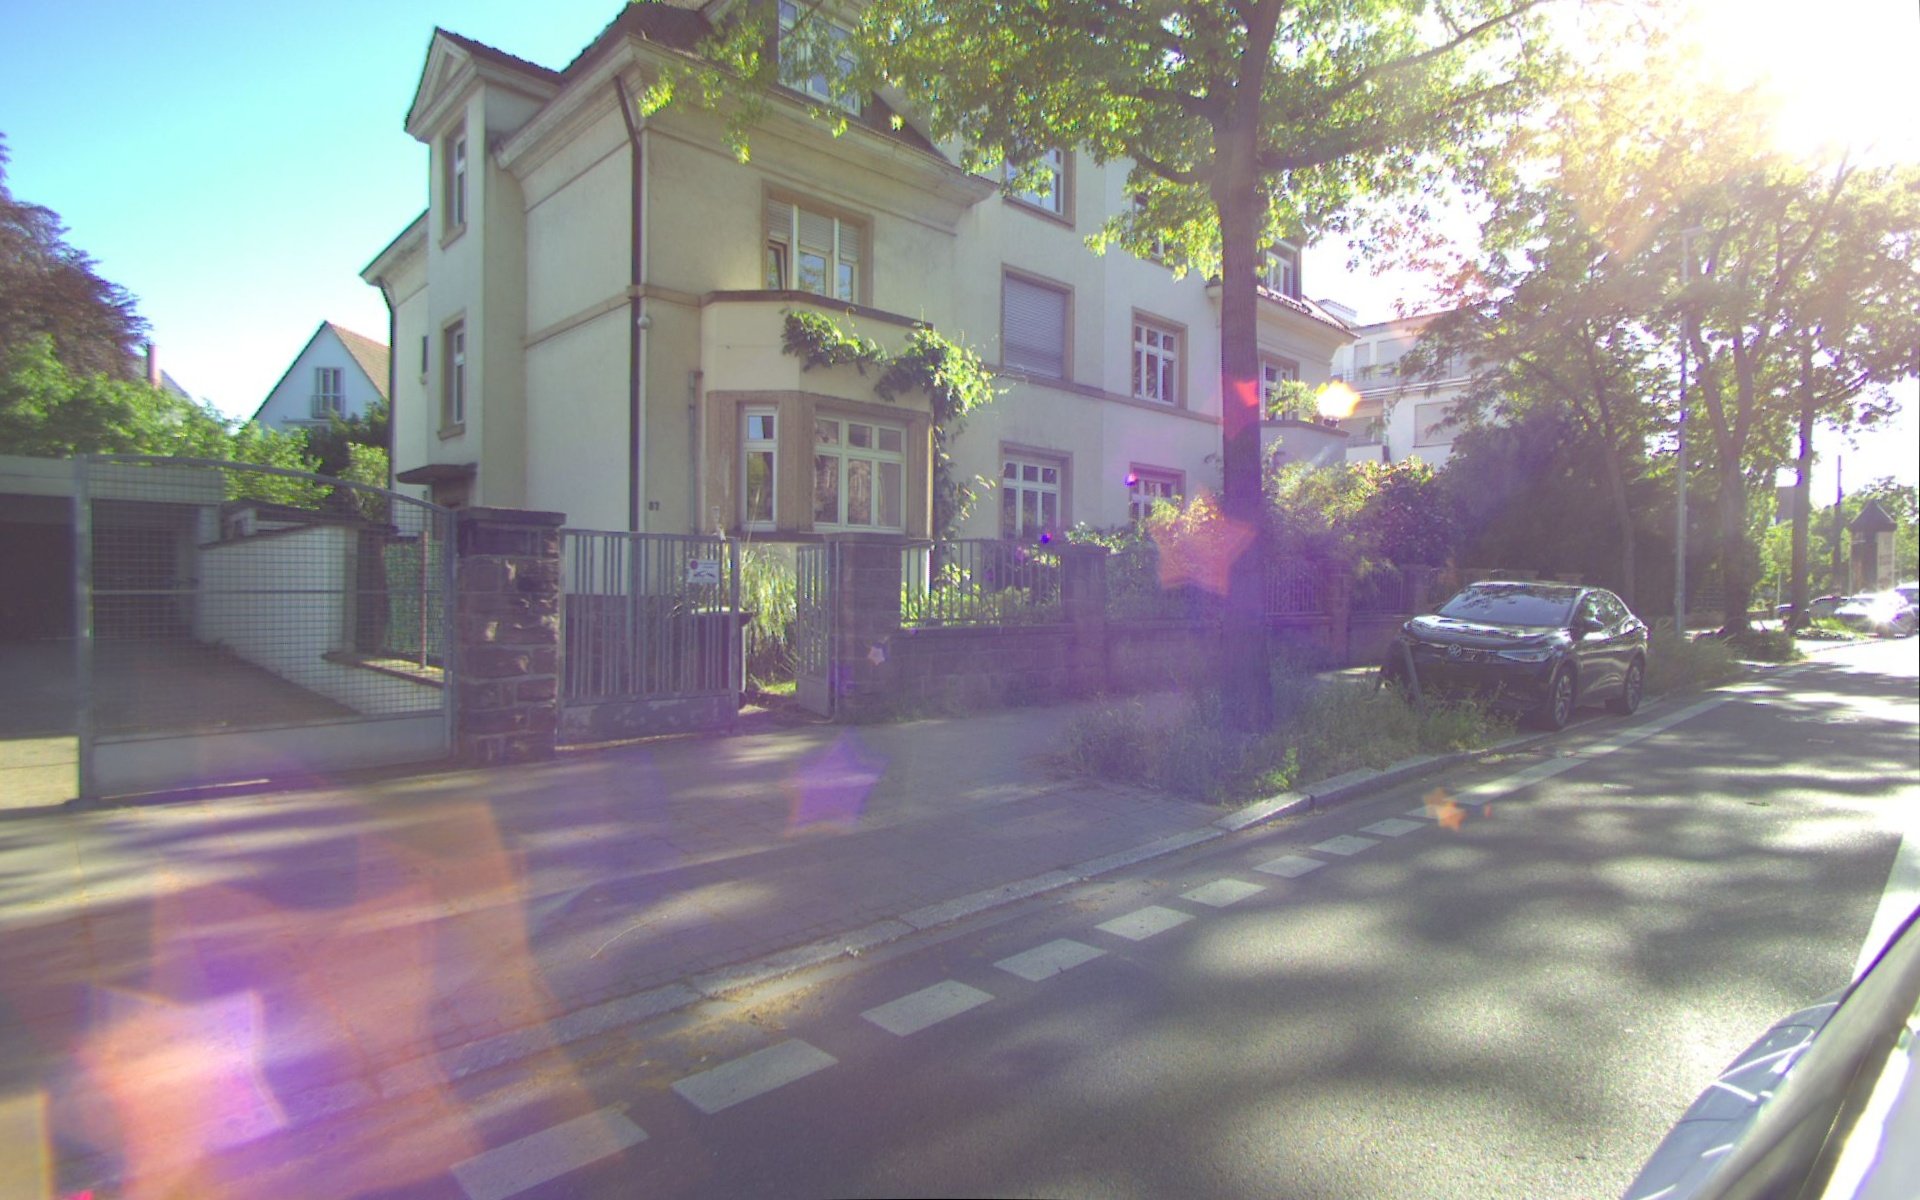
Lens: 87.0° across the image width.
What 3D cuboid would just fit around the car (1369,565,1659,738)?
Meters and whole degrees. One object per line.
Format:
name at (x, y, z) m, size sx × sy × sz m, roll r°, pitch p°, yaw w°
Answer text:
car at (6.949, 0.492, 12.508) m, size 4.101 × 1.765 × 1.995 m, roll -1°, pitch 1°, yaw -43°

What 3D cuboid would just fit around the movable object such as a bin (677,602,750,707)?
movable object such as a bin at (-2.705, 0.569, 11.043) m, size 0.712 × 1.068 × 0.969 m, roll 0°, pitch 0°, yaw -17°

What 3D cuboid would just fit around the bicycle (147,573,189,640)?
bicycle at (-14.072, 0.107, 17.967) m, size 0.512 × 1.136 × 1.464 m, roll -1°, pitch 0°, yaw -41°

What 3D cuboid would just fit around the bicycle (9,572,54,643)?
bicycle at (-15.475, 0.110, 16.889) m, size 0.512 × 1.136 × 1.464 m, roll -1°, pitch 0°, yaw -41°

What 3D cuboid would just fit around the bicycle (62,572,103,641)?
bicycle at (-14.978, 0.101, 17.273) m, size 0.512 × 1.136 × 1.464 m, roll -1°, pitch 0°, yaw -41°

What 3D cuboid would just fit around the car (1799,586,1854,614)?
car at (47.195, -0.043, 55.090) m, size 3.931 × 1.460 × 1.739 m, roll -1°, pitch 1°, yaw -41°

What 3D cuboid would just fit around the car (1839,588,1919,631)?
car at (31.699, 0.293, 34.701) m, size 3.847 × 1.356 × 1.719 m, roll -1°, pitch 1°, yaw -39°

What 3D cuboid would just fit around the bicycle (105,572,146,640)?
bicycle at (-14.555, 0.093, 17.644) m, size 0.512 × 1.136 × 1.464 m, roll -1°, pitch 0°, yaw -41°

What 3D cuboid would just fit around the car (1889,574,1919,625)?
car at (36.869, -0.052, 38.293) m, size 4.171 × 1.852 × 1.904 m, roll -1°, pitch 1°, yaw -39°
